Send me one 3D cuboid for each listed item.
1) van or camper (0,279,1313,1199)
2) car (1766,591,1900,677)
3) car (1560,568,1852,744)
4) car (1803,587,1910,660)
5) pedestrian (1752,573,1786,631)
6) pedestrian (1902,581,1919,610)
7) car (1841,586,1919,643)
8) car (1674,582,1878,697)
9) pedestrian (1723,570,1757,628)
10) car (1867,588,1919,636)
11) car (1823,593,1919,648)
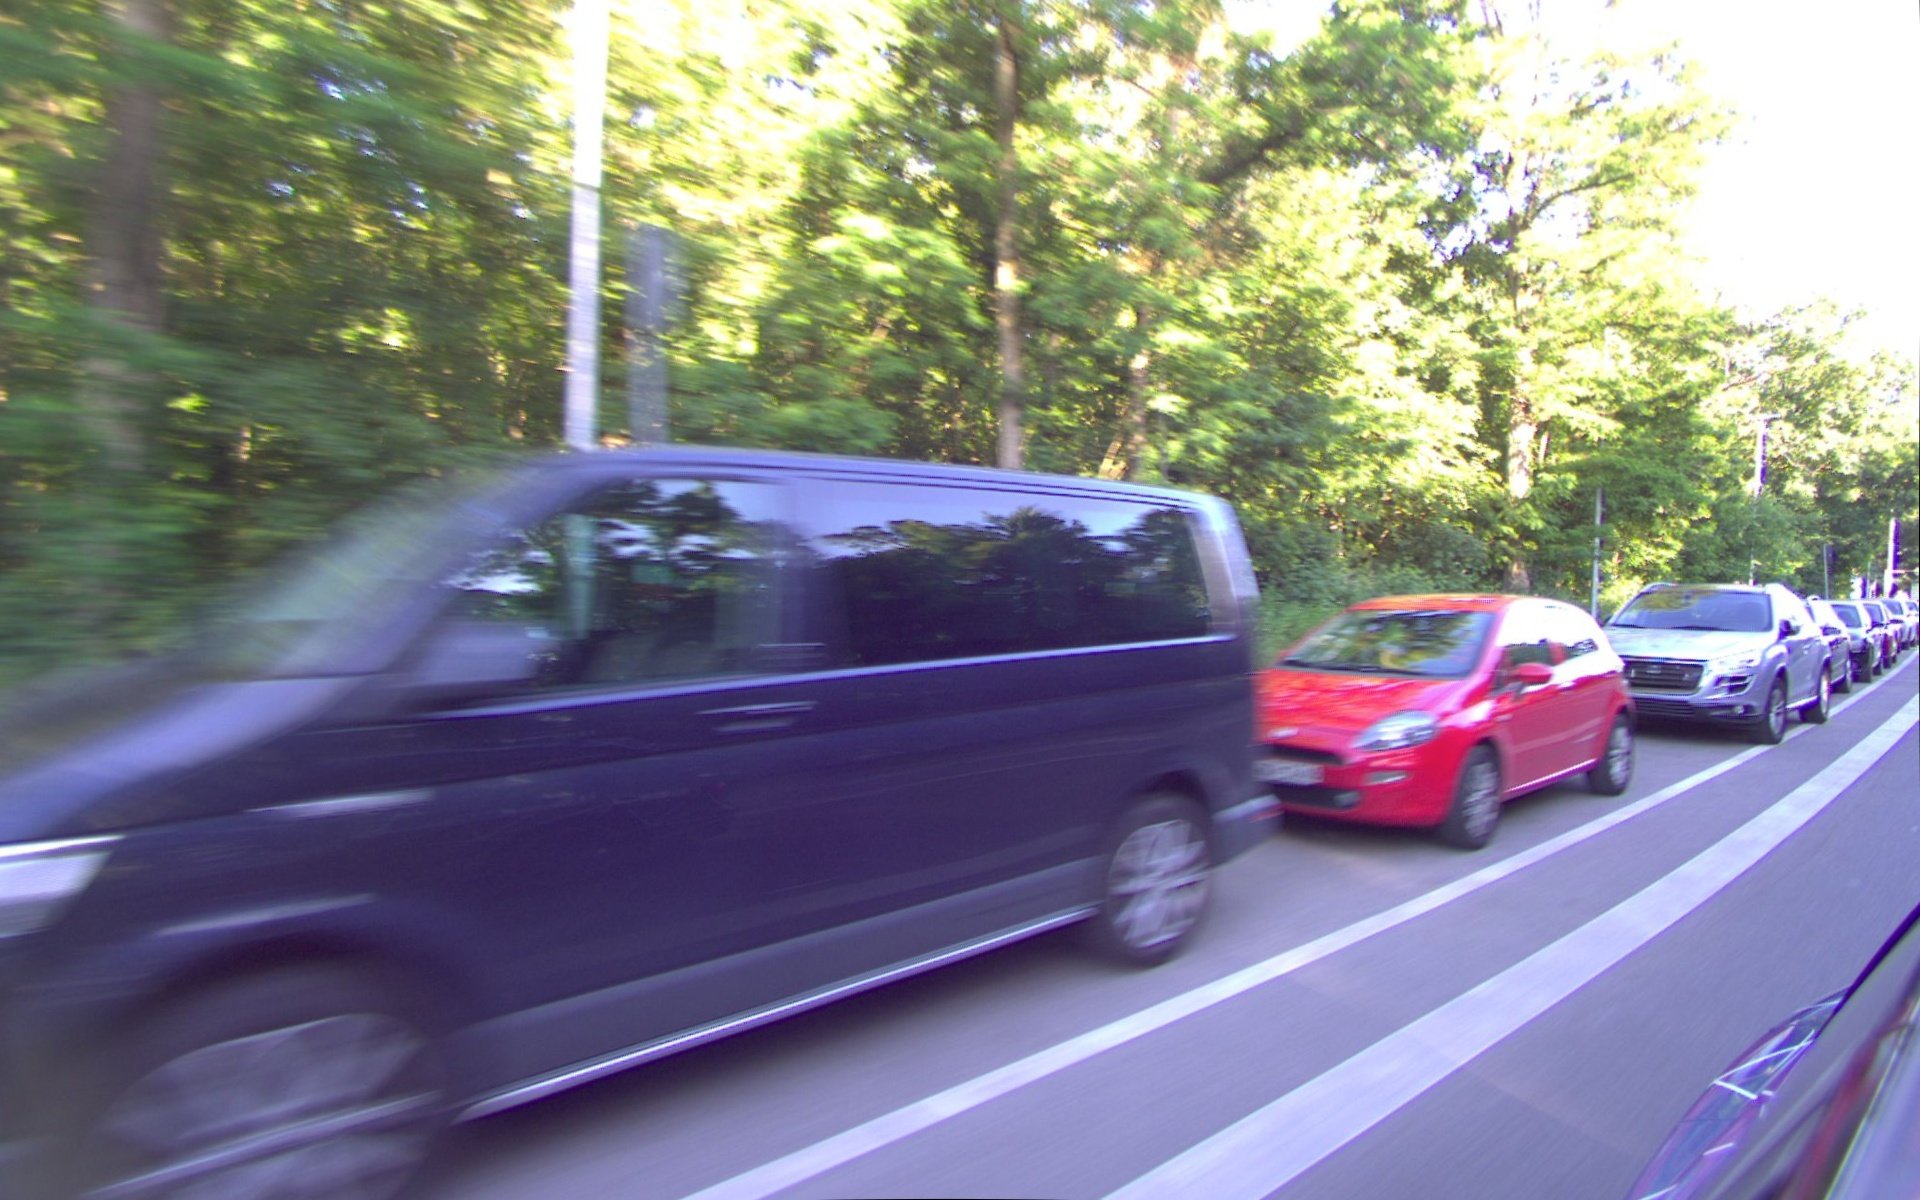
[{"bbox_3d":[-0.805,0.410,3.755,4.504,2.038,1.902,0,2,-39],"label":"van or camper"},{"bbox_3d":[16.427,0.556,18.990,3.736,1.419,1.595,-1,1,-44],"label":"car"},{"bbox_3d":[8.493,0.483,11.404,3.959,1.614,1.802,0,2,-41],"label":"car"},{"bbox_3d":[19.948,0.467,22.472,1.616,1.487,3.665,0,0,44],"label":"car"},{"bbox_3d":[26.177,0.052,32.754,0.675,1.820,0.777,5,4,45],"label":"pedestrian"},{"bbox_3d":[61.403,-0.284,65.263,0.721,1.821,0.808,0,2,-41],"label":"pedestrian"},{"bbox_3d":[27.980,0.387,30.452,4.286,1.543,1.739,-1,2,-43],"label":"car"},{"bbox_3d":[12.757,0.511,15.720,4.427,1.538,1.809,0,0,-42],"label":"car"},{"bbox_3d":[25.554,-0.038,33.149,0.675,1.820,0.938,5,4,45],"label":"pedestrian"},{"bbox_3d":[31.204,0.363,33.313,3.953,1.470,1.658,-1,2,-44],"label":"car"},{"bbox_3d":[24.321,0.491,26.954,3.776,1.336,1.630,-1,1,-43],"label":"car"}]
